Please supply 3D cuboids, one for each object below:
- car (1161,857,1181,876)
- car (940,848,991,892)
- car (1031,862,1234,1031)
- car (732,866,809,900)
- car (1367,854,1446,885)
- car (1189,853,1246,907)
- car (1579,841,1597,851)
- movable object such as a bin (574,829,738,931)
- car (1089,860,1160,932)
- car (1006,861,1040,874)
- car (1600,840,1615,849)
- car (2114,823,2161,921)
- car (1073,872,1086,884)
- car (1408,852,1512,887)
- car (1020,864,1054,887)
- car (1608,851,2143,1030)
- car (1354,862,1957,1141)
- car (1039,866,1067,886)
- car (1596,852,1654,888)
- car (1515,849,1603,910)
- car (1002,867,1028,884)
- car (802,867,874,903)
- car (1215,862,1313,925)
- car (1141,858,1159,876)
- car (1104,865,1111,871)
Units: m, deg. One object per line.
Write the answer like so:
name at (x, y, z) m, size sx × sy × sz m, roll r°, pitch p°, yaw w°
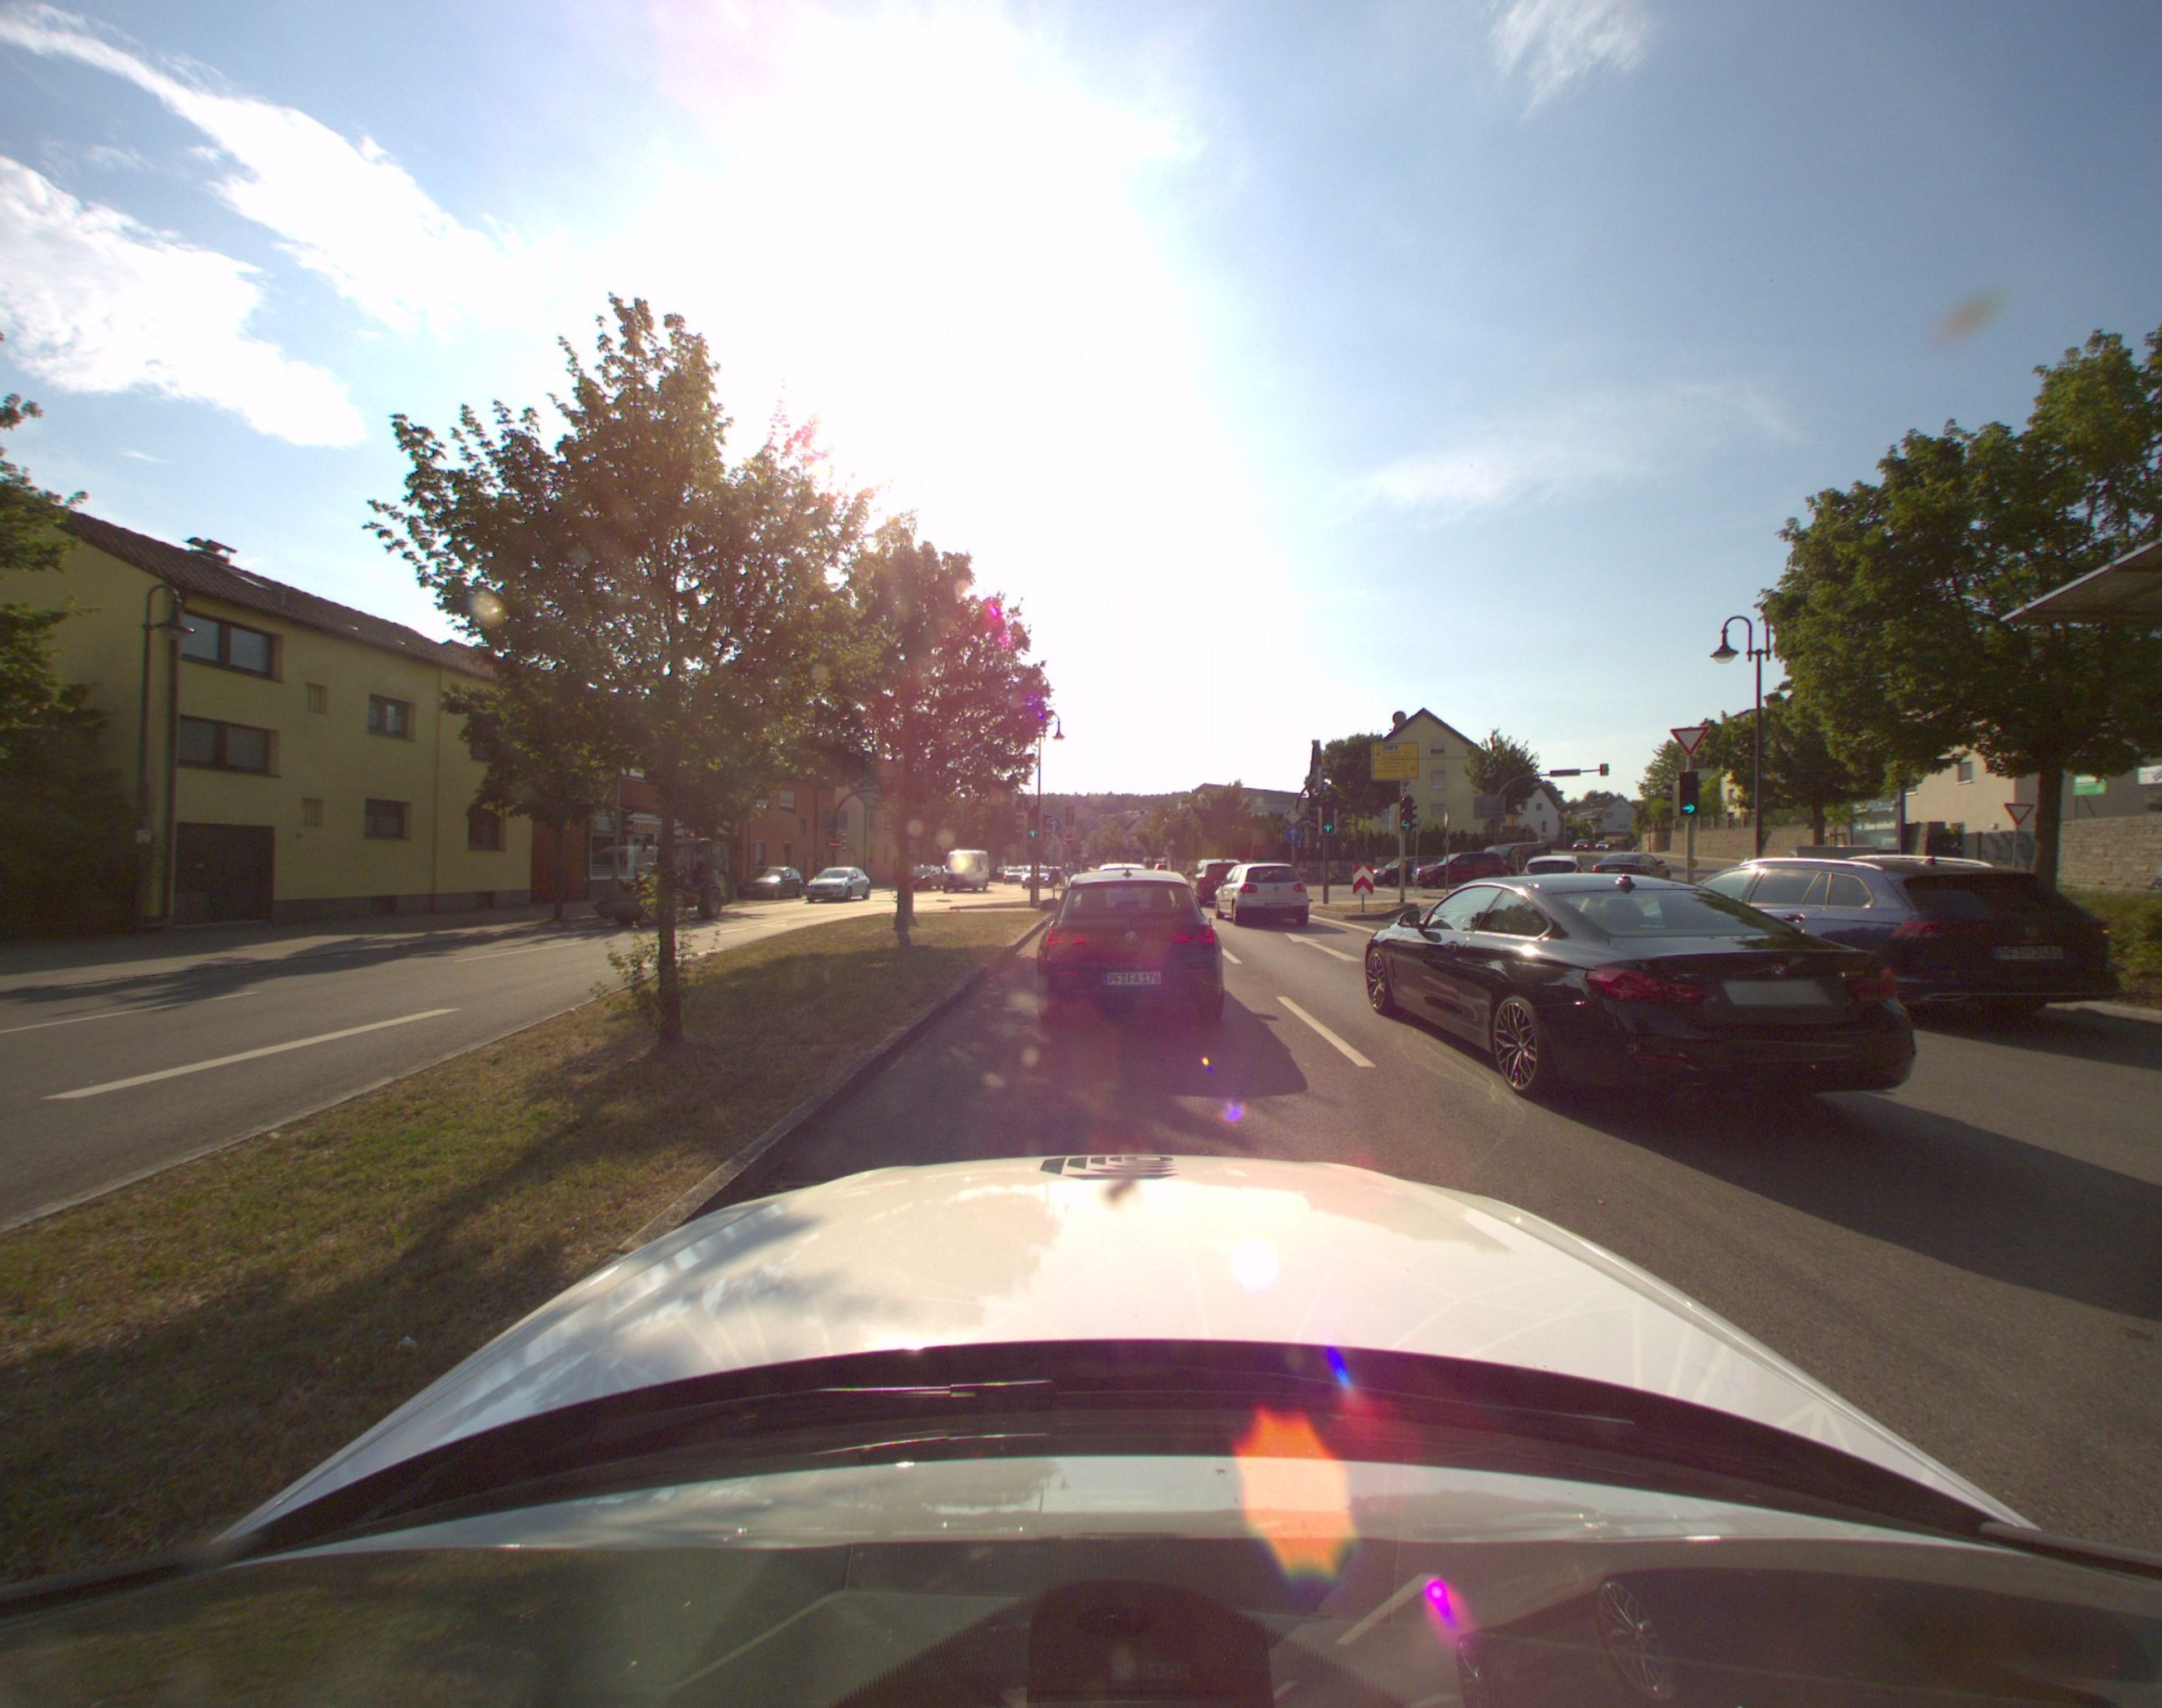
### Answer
car at (13.498, 1.870, 122.251) m, size 2.105 × 2.722 × 6.439 m, roll 0°, pitch -1°, yaw -1°
car at (-6.831, 0.935, 48.673) m, size 2.076 × 2.476 × 5.482 m, roll 0°, pitch -1°, yaw 2°
car at (0.501, 0.823, 8.856) m, size 1.765 × 1.456 × 3.517 m, roll 0°, pitch 0°, yaw 2°
car at (-14.013, 1.275, 36.982) m, size 1.788 × 1.414 × 3.945 m, roll 0°, pitch 0°, yaw 3°
car at (16.995, 0.785, 42.636) m, size 3.755 × 1.542 × 1.606 m, roll 0°, pitch -1°, yaw 19°
car at (4.743, 0.878, 28.703) m, size 1.596 × 1.767 × 3.413 m, roll 0°, pitch -1°, yaw 3°
car at (66.870, -1.054, 107.418) m, size 1.794 × 1.344 × 4.025 m, roll -1°, pitch -1°, yaw 36°
movable object such as a bin at (-11.322, 0.653, 22.174) m, size 1.546 × 2.462 × 4.983 m, roll 0°, pitch -1°, yaw 4°
car at (1.042, 0.961, 20.206) m, size 1.586 × 1.600 × 3.895 m, roll 0°, pitch -1°, yaw 2°
car at (-10.866, 2.529, 151.975) m, size 6.138 × 2.445 × 2.249 m, roll 1°, pitch -1°, yaw 0°
car at (83.842, -1.544, 129.691) m, size 1.794 × 1.344 × 4.025 m, roll -1°, pitch -1°, yaw 36°
car at (18.042, 0.251, 11.525) m, size 4.037 × 1.456 × 1.685 m, roll -1°, pitch -1°, yaw 14°
car at (-0.187, 3.078, 103.515) m, size 1.526 × 1.462 × 3.509 m, roll 0°, pitch -1°, yaw 3°
car at (18.430, 0.737, 39.701) m, size 4.230 × 1.626 × 1.859 m, roll 0°, pitch -1°, yaw -4°
car at (-2.914, 1.420, 54.846) m, size 1.828 × 1.488 × 4.568 m, roll 0°, pitch 0°, yaw 2°
car at (7.744, 0.707, 8.664) m, size 1.623 × 1.410 × 4.280 m, roll -1°, pitch 0°, yaw 2°
car at (3.620, 0.769, 6.259) m, size 1.693 × 1.369 × 4.263 m, roll -1°, pitch 0°, yaw 1°
car at (-2.027, 1.580, 60.000) m, size 1.582 × 1.427 × 3.582 m, roll -1°, pitch -1°, yaw 5°
car at (21.665, 0.608, 32.370) m, size 1.794 × 1.344 × 4.025 m, roll -1°, pitch -1°, yaw 36°
car at (13.120, 0.650, 22.246) m, size 1.844 × 1.494 × 4.025 m, roll -1°, pitch -1°, yaw 34°
car at (-5.703, 1.816, 70.835) m, size 1.750 × 1.411 × 4.001 m, roll 0°, pitch -1°, yaw 2°
car at (-10.602, 1.313, 35.803) m, size 1.684 × 1.414 × 4.217 m, roll 0°, pitch 0°, yaw 3°
car at (4.415, 0.903, 20.088) m, size 1.747 × 1.414 × 3.423 m, roll 0°, pitch -1°, yaw 2°
car at (10.300, 1.904, 121.905) m, size 2.143 × 2.681 × 6.600 m, roll 0°, pitch -1°, yaw -1°
car at (7.023, 3.810, 216.658) m, size 1.592 × 1.485 × 3.473 m, roll 1°, pitch -1°, yaw -1°
